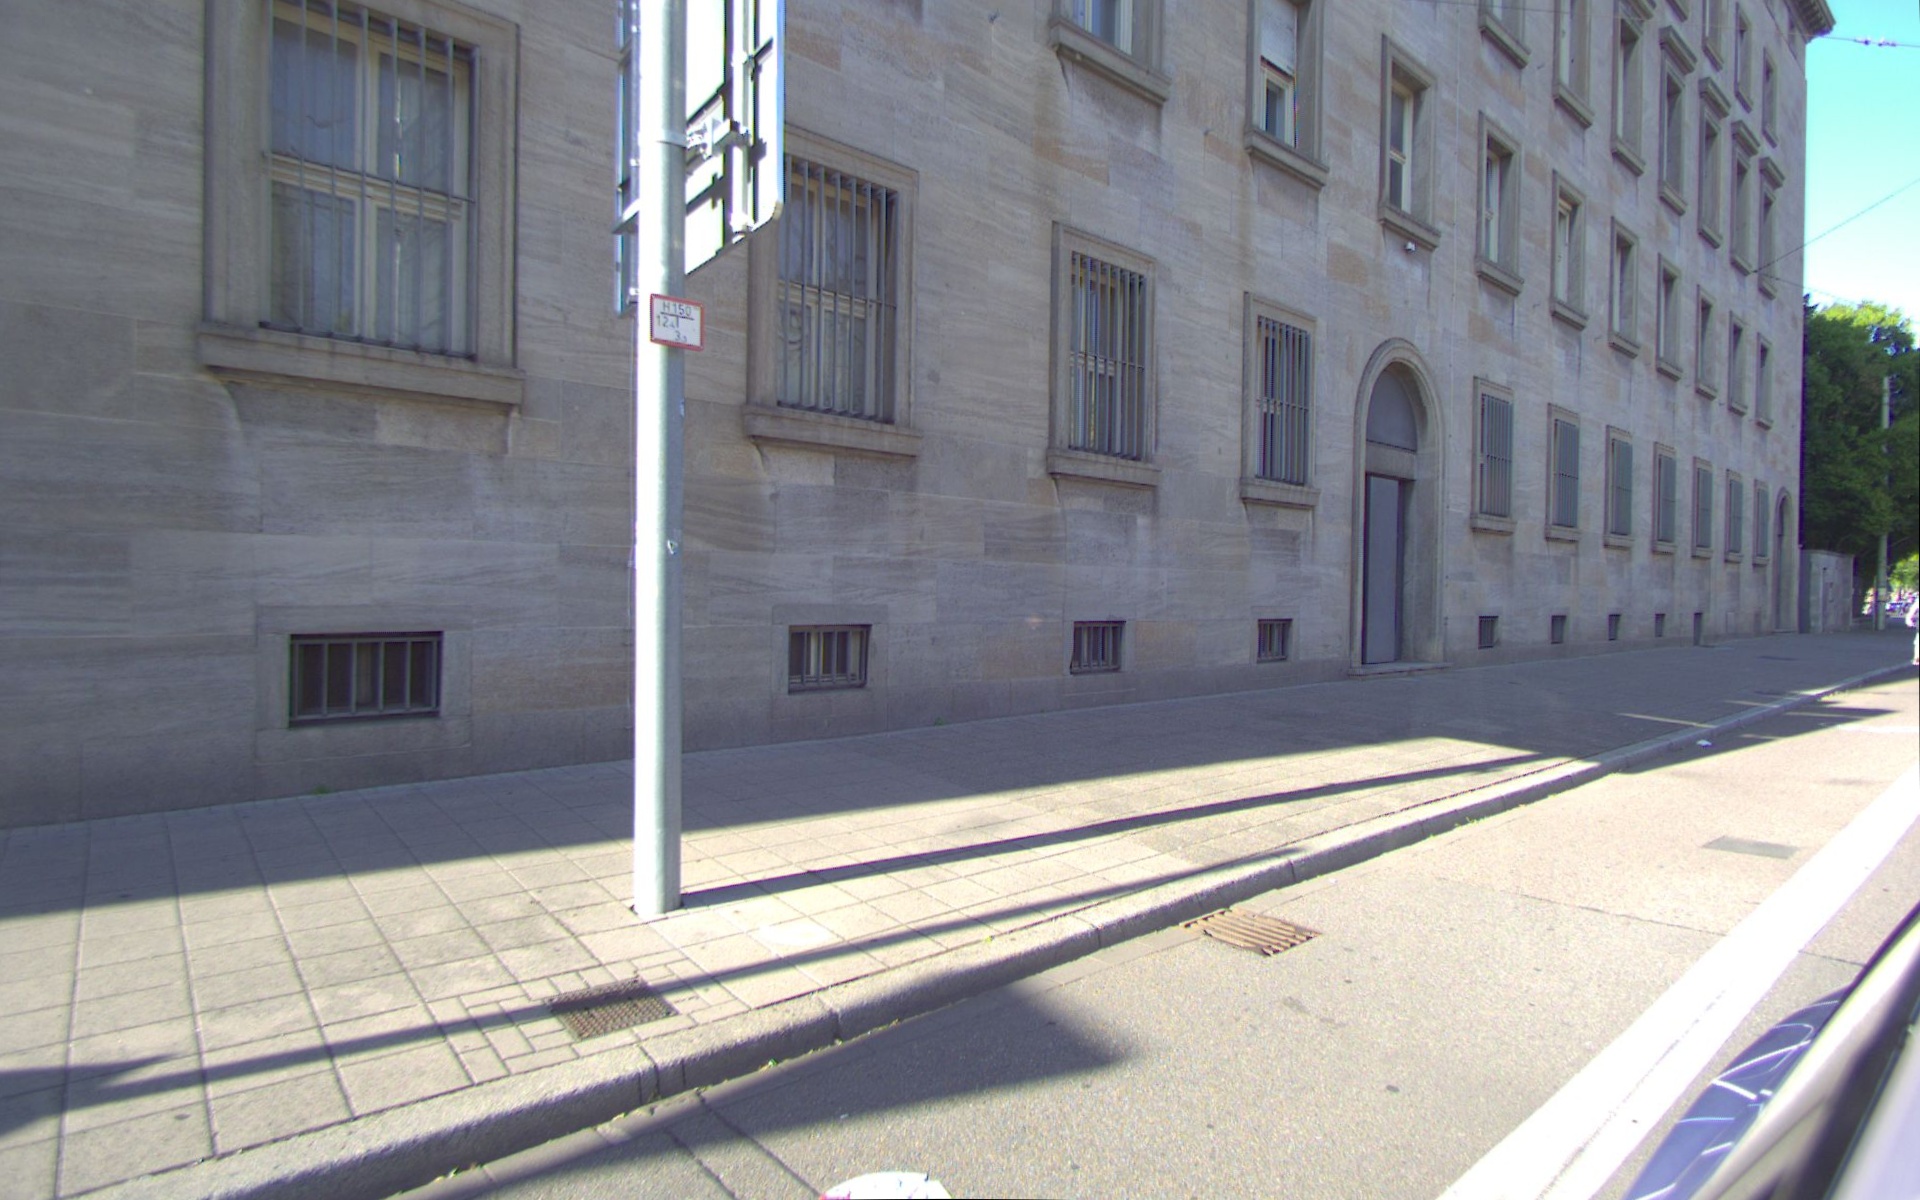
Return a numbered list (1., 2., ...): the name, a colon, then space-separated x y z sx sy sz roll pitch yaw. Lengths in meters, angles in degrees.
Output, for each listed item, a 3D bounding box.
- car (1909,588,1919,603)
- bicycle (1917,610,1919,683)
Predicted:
1. car: 118.899 -0.499 124.952 1.987 1.821 3.949 1 1 35
2. bicycle: 17.077 0.778 17.479 1.630 1.236 0.624 0 -1 -41
